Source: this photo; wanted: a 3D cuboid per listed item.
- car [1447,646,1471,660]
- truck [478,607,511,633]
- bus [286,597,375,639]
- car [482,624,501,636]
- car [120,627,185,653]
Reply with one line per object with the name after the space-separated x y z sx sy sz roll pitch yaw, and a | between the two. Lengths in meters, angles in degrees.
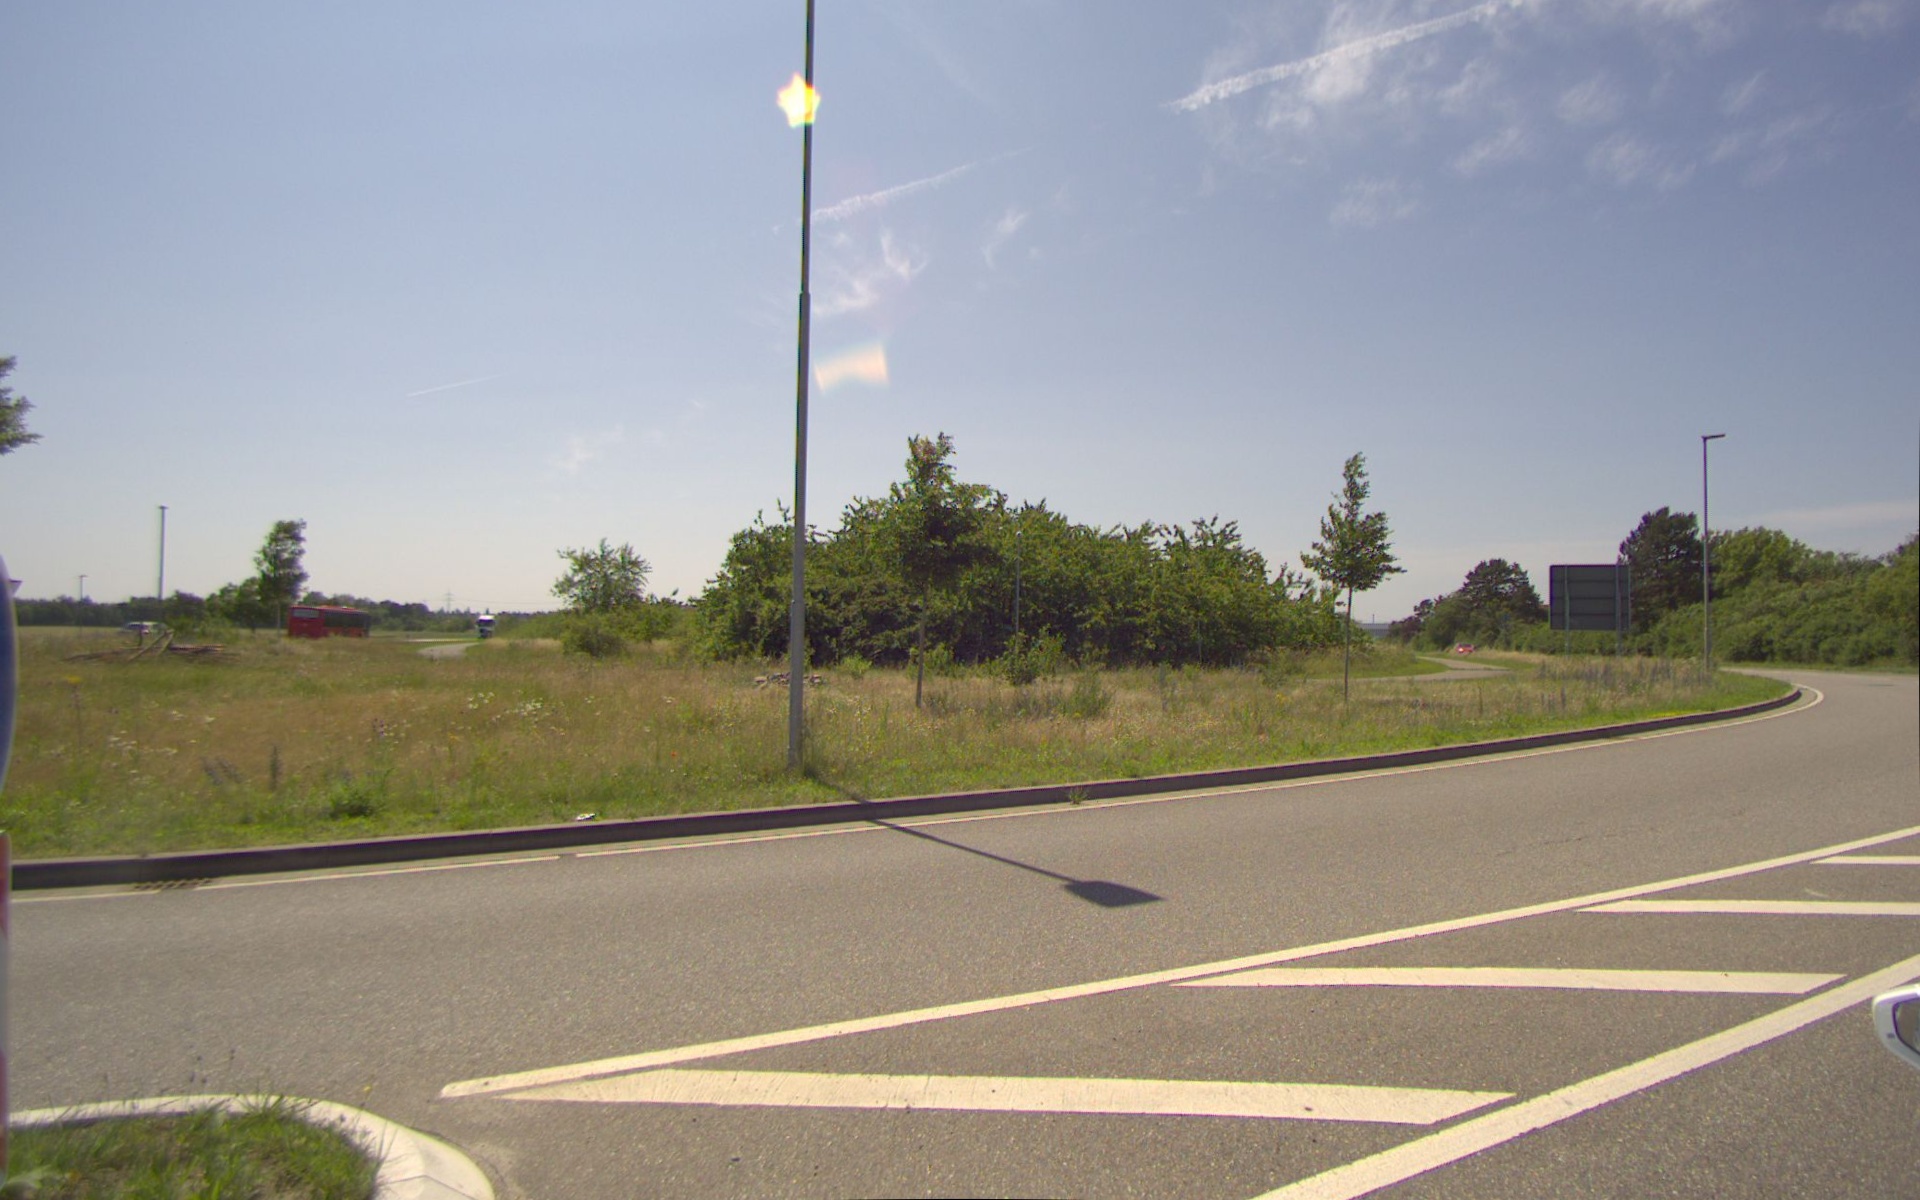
53.842 5.664 108.423 1.627 1.452 3.738 -1 -3 16 | car
-83.518 3.617 180.389 3.222 4.394 12.024 1 -2 -14 | truck
-53.976 1.684 86.568 3.260 3.352 11.950 1 -2 -16 | bus
-75.405 4.874 161.664 1.966 1.951 3.990 1 -2 -14 | car
-47.405 2.348 59.071 1.701 1.483 3.589 1 -2 -17 | car
